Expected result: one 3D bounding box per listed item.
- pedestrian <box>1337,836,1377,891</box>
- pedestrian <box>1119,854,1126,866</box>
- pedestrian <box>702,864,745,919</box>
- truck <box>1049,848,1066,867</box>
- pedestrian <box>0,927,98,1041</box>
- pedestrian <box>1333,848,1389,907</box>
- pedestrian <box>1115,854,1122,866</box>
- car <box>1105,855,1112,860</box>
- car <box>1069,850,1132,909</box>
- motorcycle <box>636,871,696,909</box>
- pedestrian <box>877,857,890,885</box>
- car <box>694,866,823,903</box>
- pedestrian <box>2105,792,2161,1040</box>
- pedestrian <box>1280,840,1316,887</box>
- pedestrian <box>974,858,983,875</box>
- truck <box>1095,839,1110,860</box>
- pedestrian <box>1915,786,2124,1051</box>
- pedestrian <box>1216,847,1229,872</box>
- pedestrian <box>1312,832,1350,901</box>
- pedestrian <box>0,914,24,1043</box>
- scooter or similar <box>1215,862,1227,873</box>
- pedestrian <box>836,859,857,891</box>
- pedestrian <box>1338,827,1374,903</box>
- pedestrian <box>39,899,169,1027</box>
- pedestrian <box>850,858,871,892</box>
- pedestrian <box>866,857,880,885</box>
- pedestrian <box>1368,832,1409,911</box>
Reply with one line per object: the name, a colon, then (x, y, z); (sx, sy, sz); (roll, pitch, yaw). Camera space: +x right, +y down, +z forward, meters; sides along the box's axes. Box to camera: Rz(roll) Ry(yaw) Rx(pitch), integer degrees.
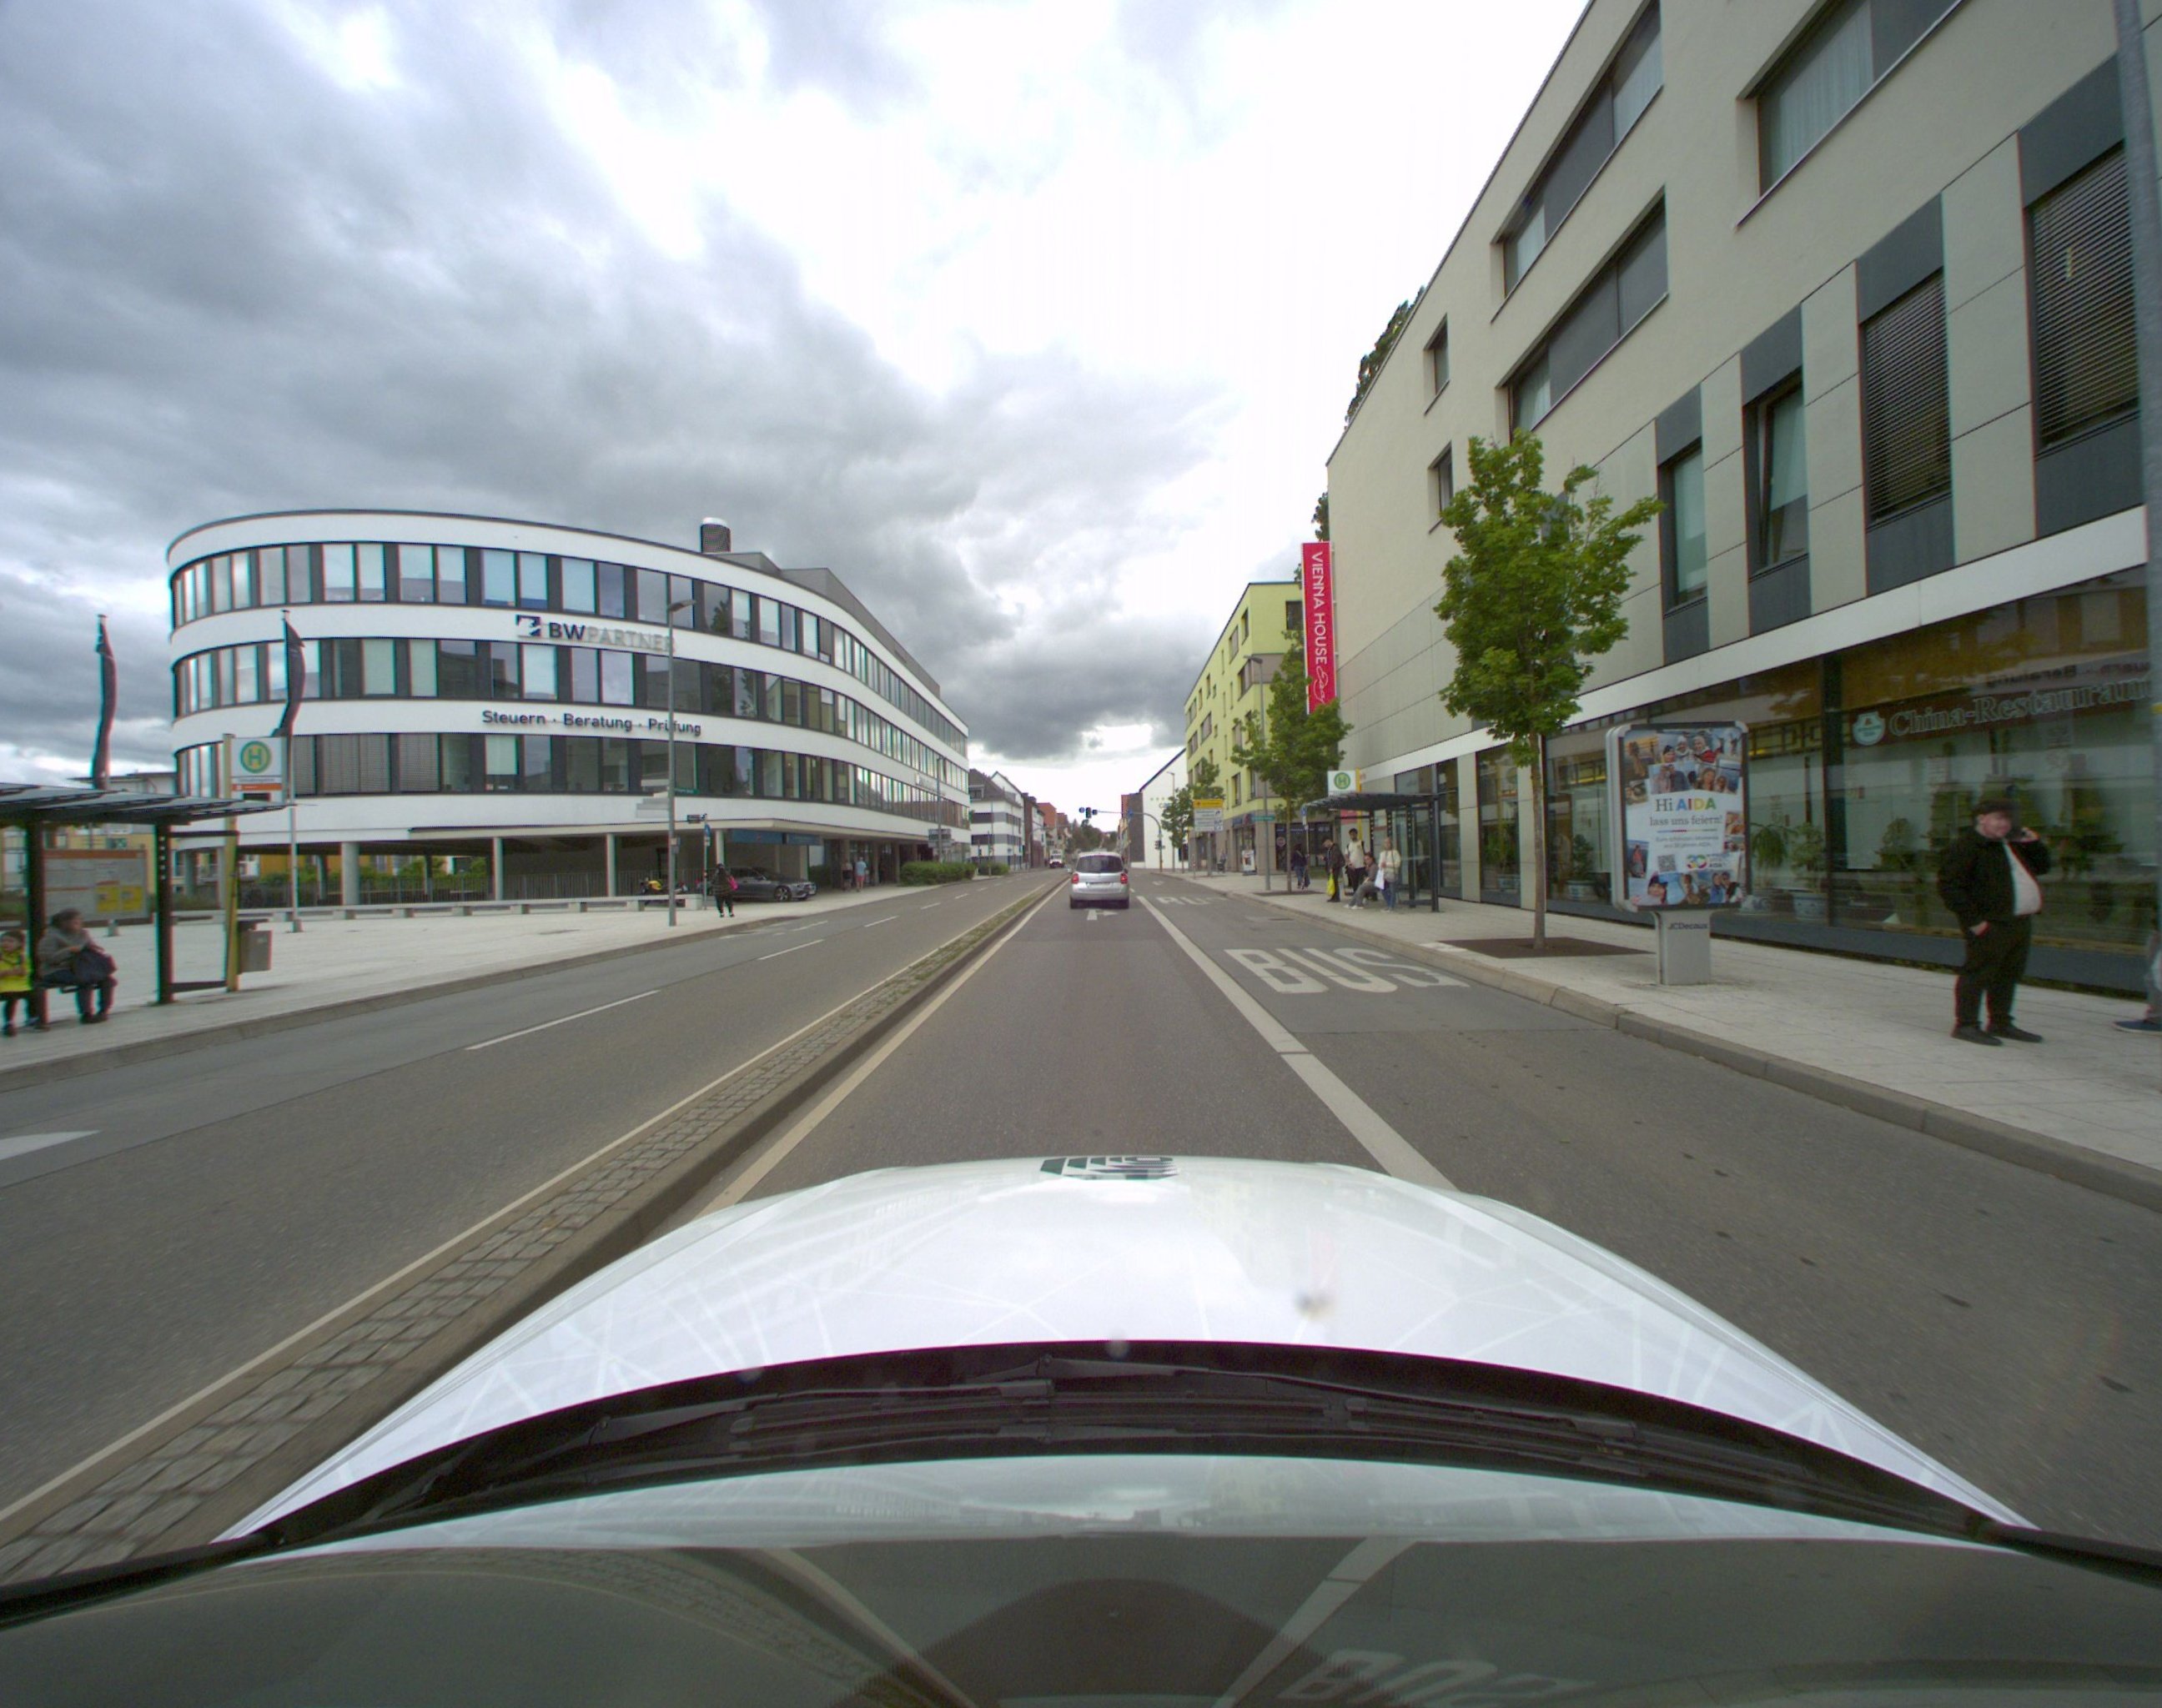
pedestrian: (8.151, 0.283, 24.051); (0.866, 1.583, 0.804); (-2, 0, 0)
pedestrian: (6.376, 0.977, 125.370); (0.805, 1.787, 0.861); (-4, 0, 2)
pedestrian: (-10.552, 1.092, 24.062); (0.826, 1.567, 0.814); (-1, 0, 6)
truck: (-3.729, 0.535, 130.666); (2.426, 2.953, 8.366); (-1, 0, 1)
pedestrian: (-10.976, 1.346, 8.486); (0.682, 1.075, 0.576); (-4, 0, 0)
pedestrian: (6.279, 0.517, 18.326); (0.940, 1.259, 0.732); (-3, -1, -2)
pedestrian: (5.776, 0.965, 126.502); (0.886, 1.787, 0.785); (-4, 0, 2)
car: (7.859, 0.971, 230.490); (1.806, 1.354, 4.002); (-3, 0, 2)
car: (0.567, 0.687, 24.002); (1.700, 1.579, 4.001); (0, 0, 1)
motorcycle: (-14.947, 1.287, 29.344); (1.846, 1.333, 0.637); (0, 0, 4)
pedestrian: (-12.420, 1.075, 51.301); (0.617, 1.710, 0.501); (-2, -1, -29)
car: (-12.967, 1.197, 32.871); (4.434, 1.415, 1.905); (0, 0, 5)
pedestrian: (7.352, 0.393, 5.178); (0.738, 1.608, 0.715); (-2, 0, 1)
pedestrian: (7.577, 0.332, 28.518); (0.944, 1.583, 1.016); (-2, 0, 0)
pedestrian: (-10.882, 1.307, 86.685); (0.882, 1.669, 0.811); (-2, 2, -10)
truck: (4.080, -0.833, 154.190); (2.586, 3.857, 6.851); (-1, 0, 2)
pedestrian: (6.300, 0.409, 5.502); (0.652, 1.669, 0.614); (-2, 0, 1)
pedestrian: (9.193, 0.347, 52.941); (0.693, 1.593, 0.603); (-3, 0, 0)
pedestrian: (6.348, 0.317, 20.719); (0.717, 1.683, 0.734); (-3, -1, 6)
pedestrian: (-10.981, 1.243, 7.883); (0.682, 1.253, 0.576); (-3, 0, 0)
scooter or similar: (8.952, 0.853, 52.223); (0.590, 0.673, 0.824); (-3, 0, 0)
pedestrian: (-11.982, 1.075, 41.577); (0.727, 1.613, 0.932); (-1, 0, 3)
pedestrian: (6.568, 0.256, 19.492); (0.576, 1.769, 0.858); (-3, -1, 6)
pedestrian: (-10.966, 1.201, 9.157); (0.682, 1.320, 0.576); (-3, 0, 0)
pedestrian: (-11.027, 1.032, 40.758); (0.727, 1.674, 0.932); (-1, 0, 3)
pedestrian: (-13.218, 1.095, 51.809); (0.500, 1.730, 0.619); (-2, -1, 32)
pedestrian: (6.411, 0.362, 17.000); (0.576, 1.590, 0.734); (-3, -1, 6)
